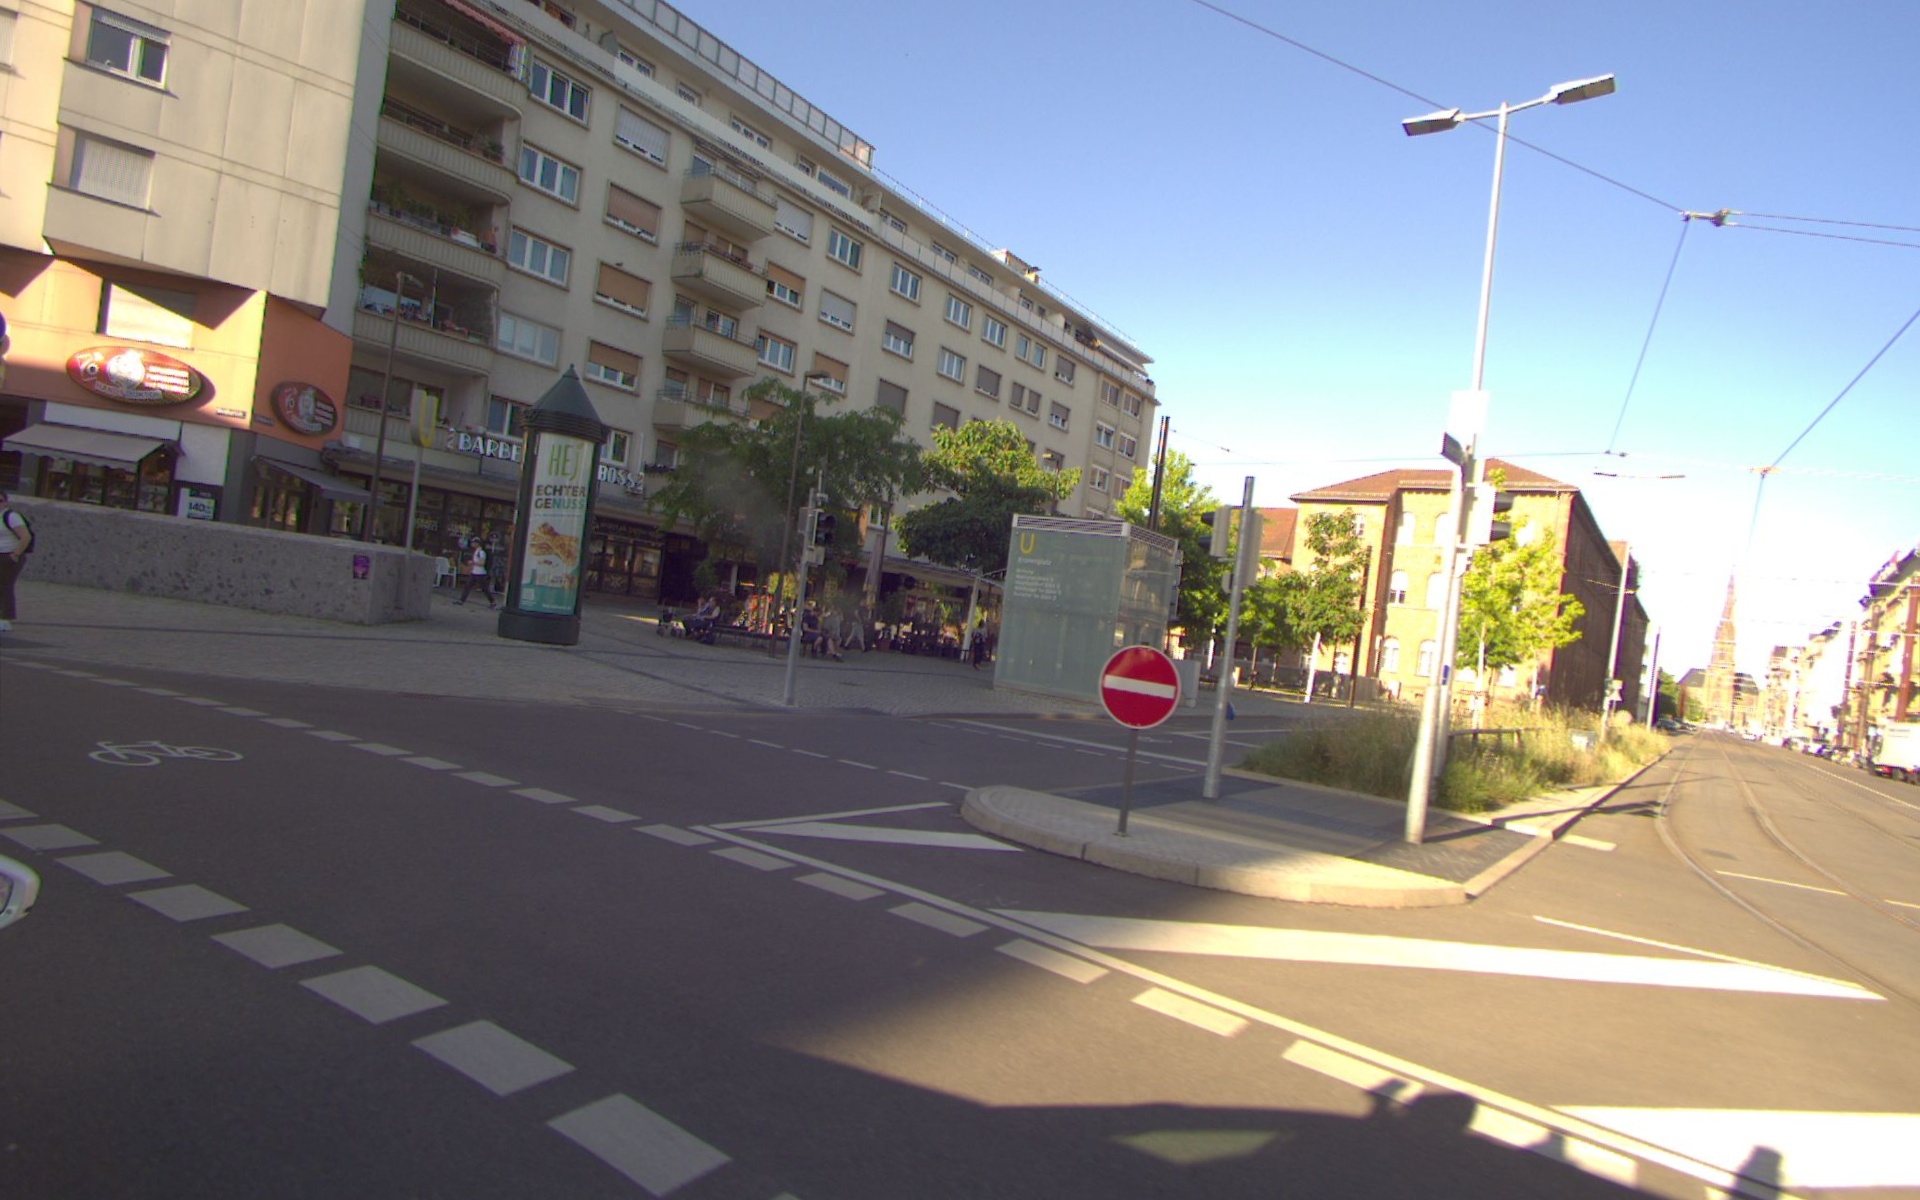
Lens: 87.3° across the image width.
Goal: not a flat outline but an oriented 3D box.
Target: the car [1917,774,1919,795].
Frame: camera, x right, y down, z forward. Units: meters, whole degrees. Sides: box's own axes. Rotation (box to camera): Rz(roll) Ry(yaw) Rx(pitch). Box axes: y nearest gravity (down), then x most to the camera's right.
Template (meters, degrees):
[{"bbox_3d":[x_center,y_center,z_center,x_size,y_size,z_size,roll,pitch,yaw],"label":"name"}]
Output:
[{"bbox_3d":[46.382,8.281,47.015,1.785,2.207,3.915,7,-1,38],"label":"car"}]

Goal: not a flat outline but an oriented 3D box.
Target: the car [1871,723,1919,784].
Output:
[{"bbox_3d":[52.579,8.499,55.198,2.240,3.058,5.361,8,-1,28],"label":"car"}]

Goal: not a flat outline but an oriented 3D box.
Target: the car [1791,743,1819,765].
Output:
[{"bbox_3d":[100.017,18.273,119.081,2.203,2.035,4.332,8,-3,40],"label":"car"}]

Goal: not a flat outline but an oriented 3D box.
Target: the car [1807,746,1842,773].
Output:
[{"bbox_3d":[83.427,15.400,97.093,2.203,2.035,4.332,8,-3,40],"label":"car"}]

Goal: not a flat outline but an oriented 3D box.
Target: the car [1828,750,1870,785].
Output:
[{"bbox_3d":[74.408,14.059,84.286,2.203,2.409,4.332,8,-3,40],"label":"car"}]

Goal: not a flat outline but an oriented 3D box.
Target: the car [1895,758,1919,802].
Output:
[{"bbox_3d":[48.870,9.185,50.958,1.702,1.996,3.915,7,-1,38],"label":"car"}]

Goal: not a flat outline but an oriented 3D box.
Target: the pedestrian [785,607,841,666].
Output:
[{"bbox_3d":[-3.941,0.988,26.998,1.089,1.381,0.720,10,1,29],"label":"pedestrian"}]

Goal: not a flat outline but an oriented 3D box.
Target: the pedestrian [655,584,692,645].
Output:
[{"bbox_3d":[-7.581,0.377,26.644,0.710,1.463,0.926,9,0,-16],"label":"pedestrian"}]

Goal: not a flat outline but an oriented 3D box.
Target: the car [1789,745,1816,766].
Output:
[{"bbox_3d":[103.085,18.994,123.089,2.203,2.035,4.332,8,-3,40],"label":"car"}]

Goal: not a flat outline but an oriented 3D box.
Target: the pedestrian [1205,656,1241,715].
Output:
[{"bbox_3d":[7.968,2.586,30.462,0.624,1.691,0.753,9,1,32],"label":"pedestrian"}]

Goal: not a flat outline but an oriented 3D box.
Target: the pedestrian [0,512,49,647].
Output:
[{"bbox_3d":[-11.868,-0.264,12.404,0.547,1.602,0.540,9,0,-5],"label":"pedestrian"}]

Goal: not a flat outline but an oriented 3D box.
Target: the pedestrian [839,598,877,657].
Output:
[{"bbox_3d":[-3.307,0.900,32.642,0.705,1.767,0.682,9,1,27],"label":"pedestrian"}]

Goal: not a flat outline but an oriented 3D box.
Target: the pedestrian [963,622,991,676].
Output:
[{"bbox_3d":[0.567,1.594,32.862,0.499,1.691,0.474,9,1,40],"label":"pedestrian"}]

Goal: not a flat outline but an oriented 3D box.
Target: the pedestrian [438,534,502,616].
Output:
[{"bbox_3d":[-12.447,-0.632,25.567,0.677,1.889,1.041,9,1,40],"label":"pedestrian"}]

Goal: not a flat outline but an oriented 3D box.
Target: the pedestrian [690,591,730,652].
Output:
[{"bbox_3d":[-6.537,0.566,26.297,0.711,1.437,0.924,9,0,-21],"label":"pedestrian"}]

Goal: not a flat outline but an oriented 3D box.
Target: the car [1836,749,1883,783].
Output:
[{"bbox_3d":[68.016,12.569,76.132,2.203,2.035,4.332,8,-3,40],"label":"car"}]

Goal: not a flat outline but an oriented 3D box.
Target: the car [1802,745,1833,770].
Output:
[{"bbox_3d":[89.007,16.395,104.457,2.203,2.035,4.332,8,-3,40],"label":"car"}]
